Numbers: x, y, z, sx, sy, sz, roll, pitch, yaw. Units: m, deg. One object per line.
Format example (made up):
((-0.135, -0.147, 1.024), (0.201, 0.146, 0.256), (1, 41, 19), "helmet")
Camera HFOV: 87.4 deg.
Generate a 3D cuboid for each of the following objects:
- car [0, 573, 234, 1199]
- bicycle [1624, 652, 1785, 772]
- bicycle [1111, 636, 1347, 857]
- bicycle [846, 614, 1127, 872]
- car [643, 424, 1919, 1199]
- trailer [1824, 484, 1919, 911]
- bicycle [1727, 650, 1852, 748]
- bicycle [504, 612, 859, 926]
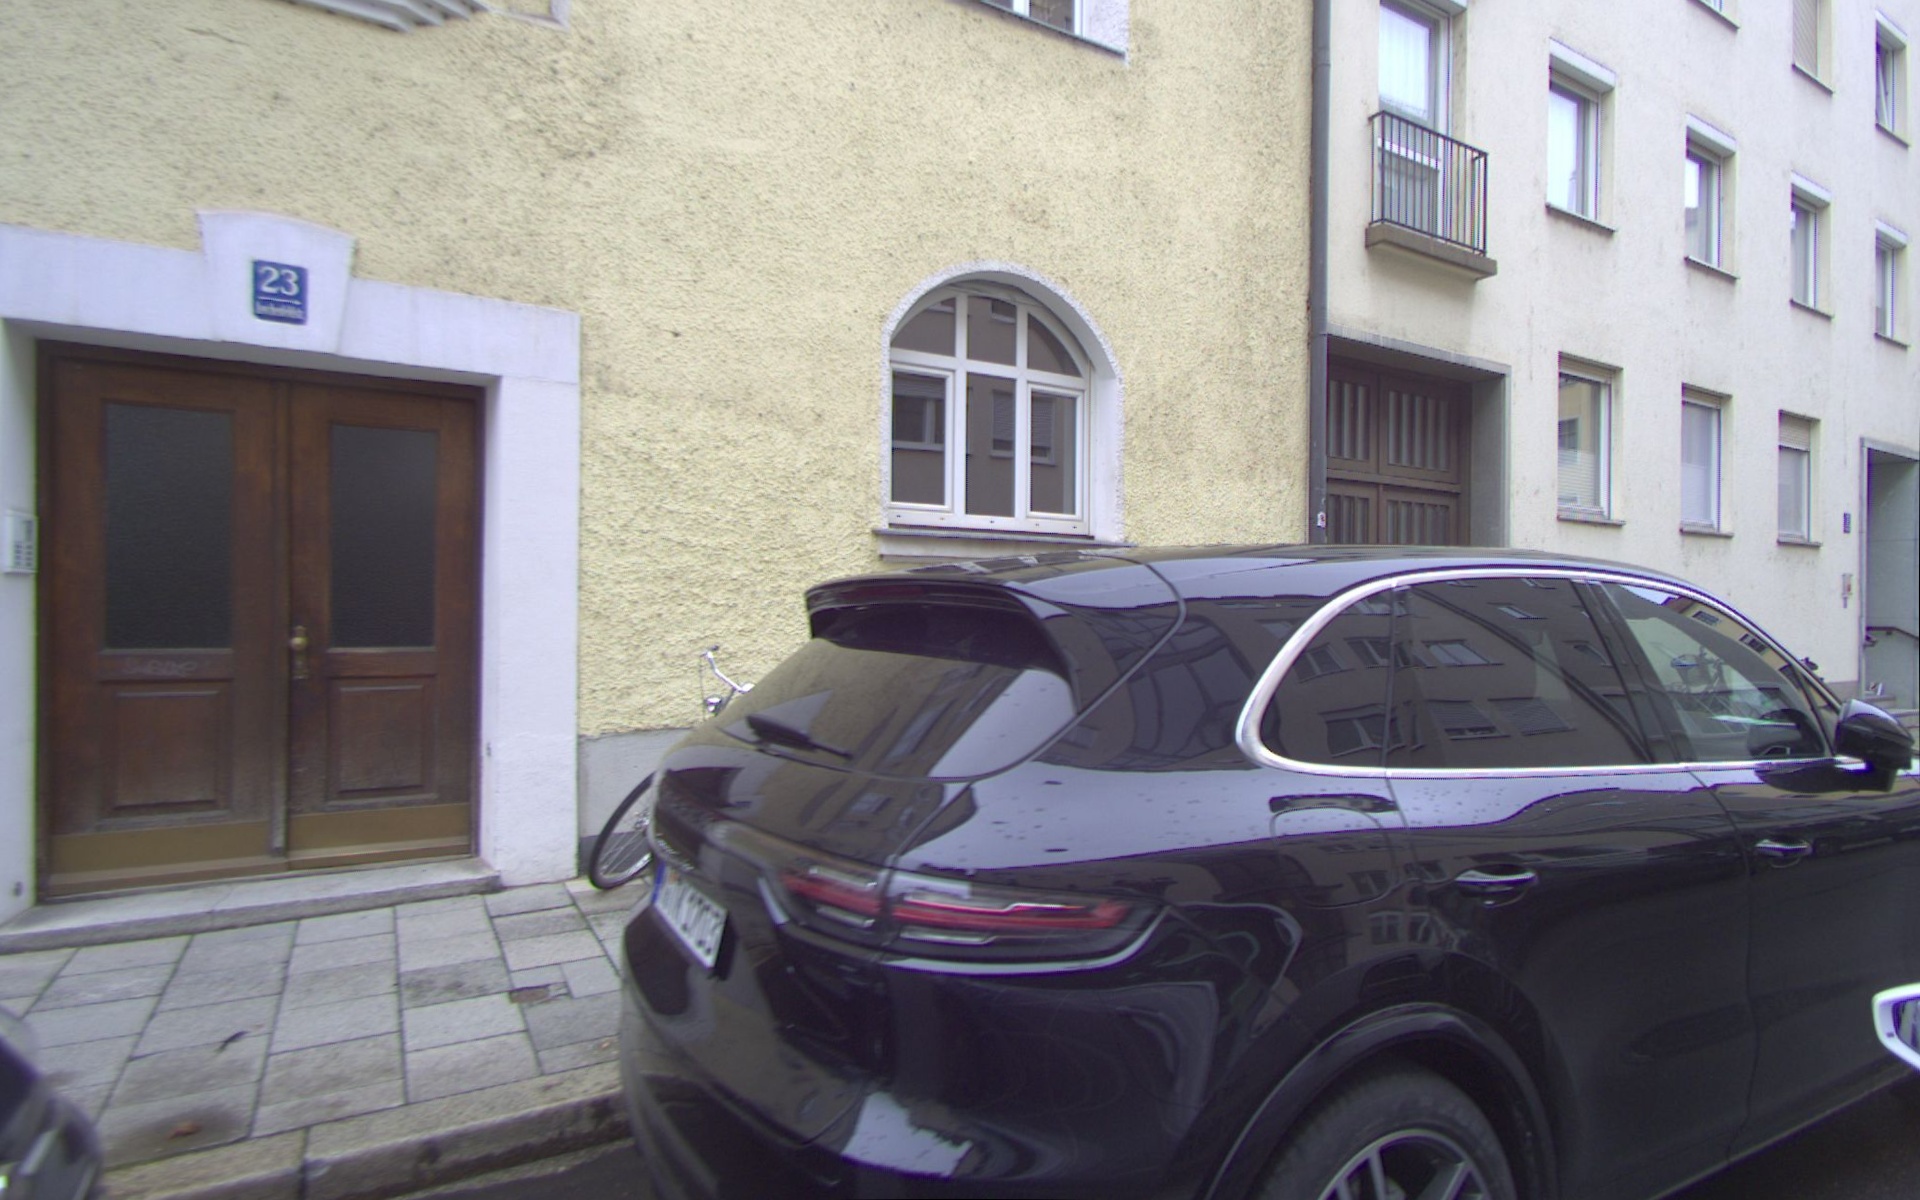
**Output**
((-2.691, 0.692, 0.612), (3.433, 1.479, 1.556), (1, -2, -29), "car")
((7.558, 1.083, 10.172), (1.794, 1.041, 0.725), (0, 1, -33), "bicycle")
((1.817, 0.911, 6.715), (1.534, 1.296, 0.590), (2, 2, -32), "bicycle")
((0.176, 0.753, 5.751), (1.534, 1.296, 0.532), (2, 2, -32), "bicycle")
((1.476, 0.702, 3.026), (4.361, 1.682, 1.871), (1, -2, -29), "car")
((6.411, 0.532, 5.566), (3.276, 2.144, 1.350), (2, 0, -28), "trailer")
((9.496, 1.096, 11.478), (1.839, 1.012, 0.510), (2, 2, -32), "bicycle")
((-1.312, 0.730, 4.837), (1.534, 1.296, 0.532), (2, 2, -32), "bicycle")
